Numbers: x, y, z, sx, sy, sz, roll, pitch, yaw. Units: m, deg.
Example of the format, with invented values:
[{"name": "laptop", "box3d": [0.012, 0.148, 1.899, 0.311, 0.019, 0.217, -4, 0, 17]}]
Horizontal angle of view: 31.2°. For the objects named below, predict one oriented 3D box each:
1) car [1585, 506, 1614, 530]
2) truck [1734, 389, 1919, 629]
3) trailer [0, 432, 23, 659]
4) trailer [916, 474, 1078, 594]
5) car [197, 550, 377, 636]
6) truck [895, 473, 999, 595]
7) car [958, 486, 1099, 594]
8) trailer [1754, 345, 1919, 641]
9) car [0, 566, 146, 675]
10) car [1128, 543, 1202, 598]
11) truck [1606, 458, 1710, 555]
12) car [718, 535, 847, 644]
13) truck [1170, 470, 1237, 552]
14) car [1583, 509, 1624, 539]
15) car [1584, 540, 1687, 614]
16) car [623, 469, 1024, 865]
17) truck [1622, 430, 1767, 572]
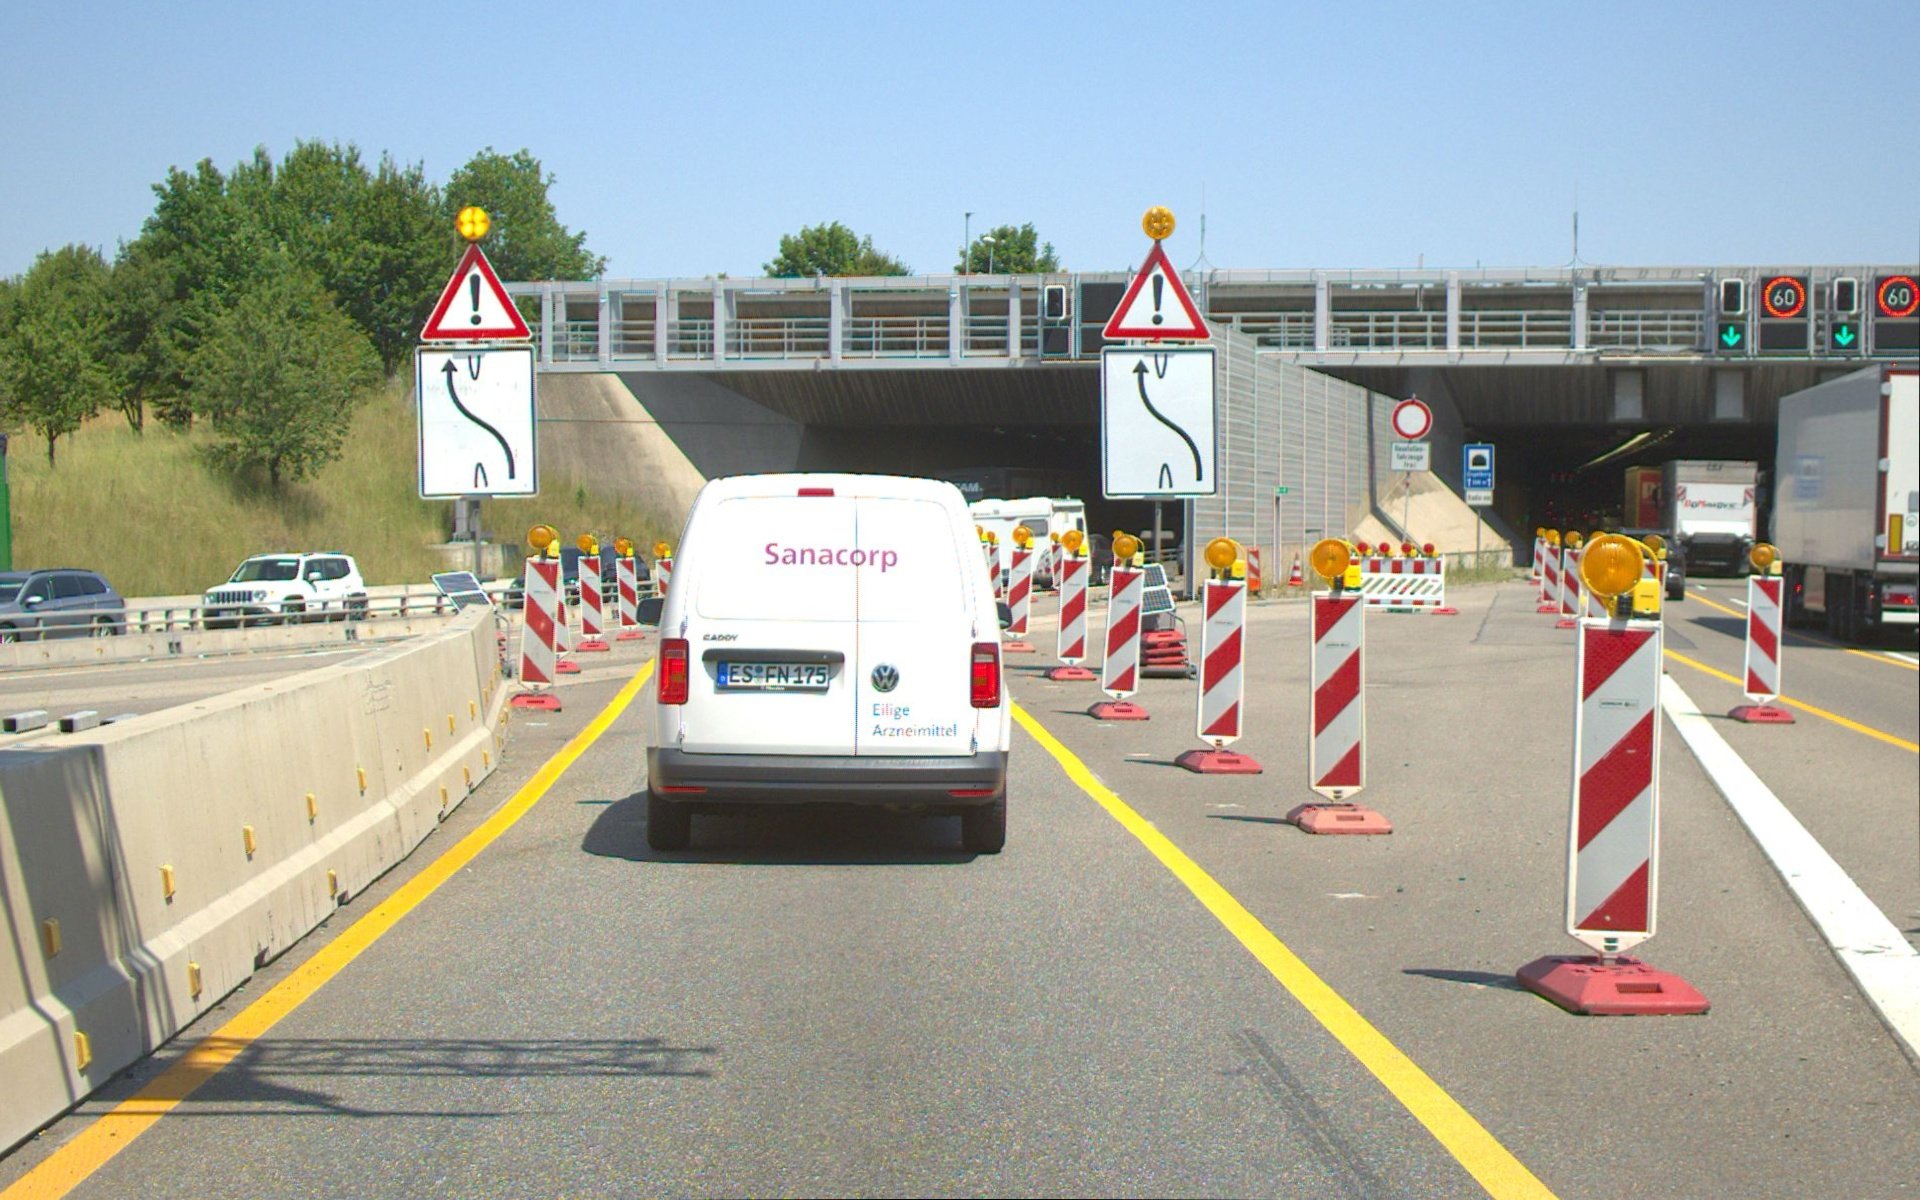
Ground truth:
[{"name": "car", "box3d": [46.377, -5.932, 249.293, 1.815, 1.624, 4.189, 2, 1, 7]}, {"name": "truck", "box3d": [15.604, -1.581, 61.399, 2.746, 4.019, 5.925, 2, 1, 7]}, {"name": "trailer", "box3d": [-21.845, -1.021, 59.200, 3.550, 4.255, 13.894, 1, 1, 20]}, {"name": "trailer", "box3d": [1.545, -2.473, 129.278, 2.437, 4.282, 13.799, 0, 1, 16]}, {"name": "car", "box3d": [-13.219, -0.168, 67.764, 1.717, 1.618, 4.167, 1, 1, 17]}, {"name": "truck", "box3d": [-0.435, -2.360, 122.532, 2.433, 4.255, 4.835, 0, 1, 16]}, {"name": "car", "box3d": [1.927, -1.592, 93.747, 2.815, 2.764, 7.098, 2, 0, 9]}, {"name": "trailer", "box3d": [14.710, -1.509, 54.022, 2.733, 4.048, 14.091, 2, 1, 7]}, {"name": "car", "box3d": [-14.778, 0.291, 54.607, 1.717, 1.618, 4.167, 1, 1, 17]}, {"name": "car", "box3d": [6.921, -1.013, 115.641, 1.954, 1.809, 4.408, 0, 1, 10]}, {"name": "truck", "box3d": [31.848, -4.172, 157.440, 3.403, 4.057, 16.532, 2, 1, 7]}, {"name": "car", "box3d": [-2.635, -0.181, 50.727, 1.808, 1.532, 4.410, 0, 1, -3]}, {"name": "truck", "box3d": [12.412, -4.510, 174.718, 2.336, 4.094, 5.013, 0, 1, 16]}, {"name": "car", "box3d": [42.313, -4.988, 226.028, 2.332, 1.832, 4.542, 2, 1, 7]}, {"name": "car", "box3d": [15.660, -0.552, 79.855, 1.815, 1.624, 4.189, 2, 1, 4]}, {"name": "car", "box3d": [-0.667, 0.274, 17.492, 1.808, 1.788, 3.731, 0, 1, -1]}, {"name": "truck", "box3d": [25.173, -3.256, 118.630, 3.403, 4.320, 16.531, 2, 0, 7]}]
